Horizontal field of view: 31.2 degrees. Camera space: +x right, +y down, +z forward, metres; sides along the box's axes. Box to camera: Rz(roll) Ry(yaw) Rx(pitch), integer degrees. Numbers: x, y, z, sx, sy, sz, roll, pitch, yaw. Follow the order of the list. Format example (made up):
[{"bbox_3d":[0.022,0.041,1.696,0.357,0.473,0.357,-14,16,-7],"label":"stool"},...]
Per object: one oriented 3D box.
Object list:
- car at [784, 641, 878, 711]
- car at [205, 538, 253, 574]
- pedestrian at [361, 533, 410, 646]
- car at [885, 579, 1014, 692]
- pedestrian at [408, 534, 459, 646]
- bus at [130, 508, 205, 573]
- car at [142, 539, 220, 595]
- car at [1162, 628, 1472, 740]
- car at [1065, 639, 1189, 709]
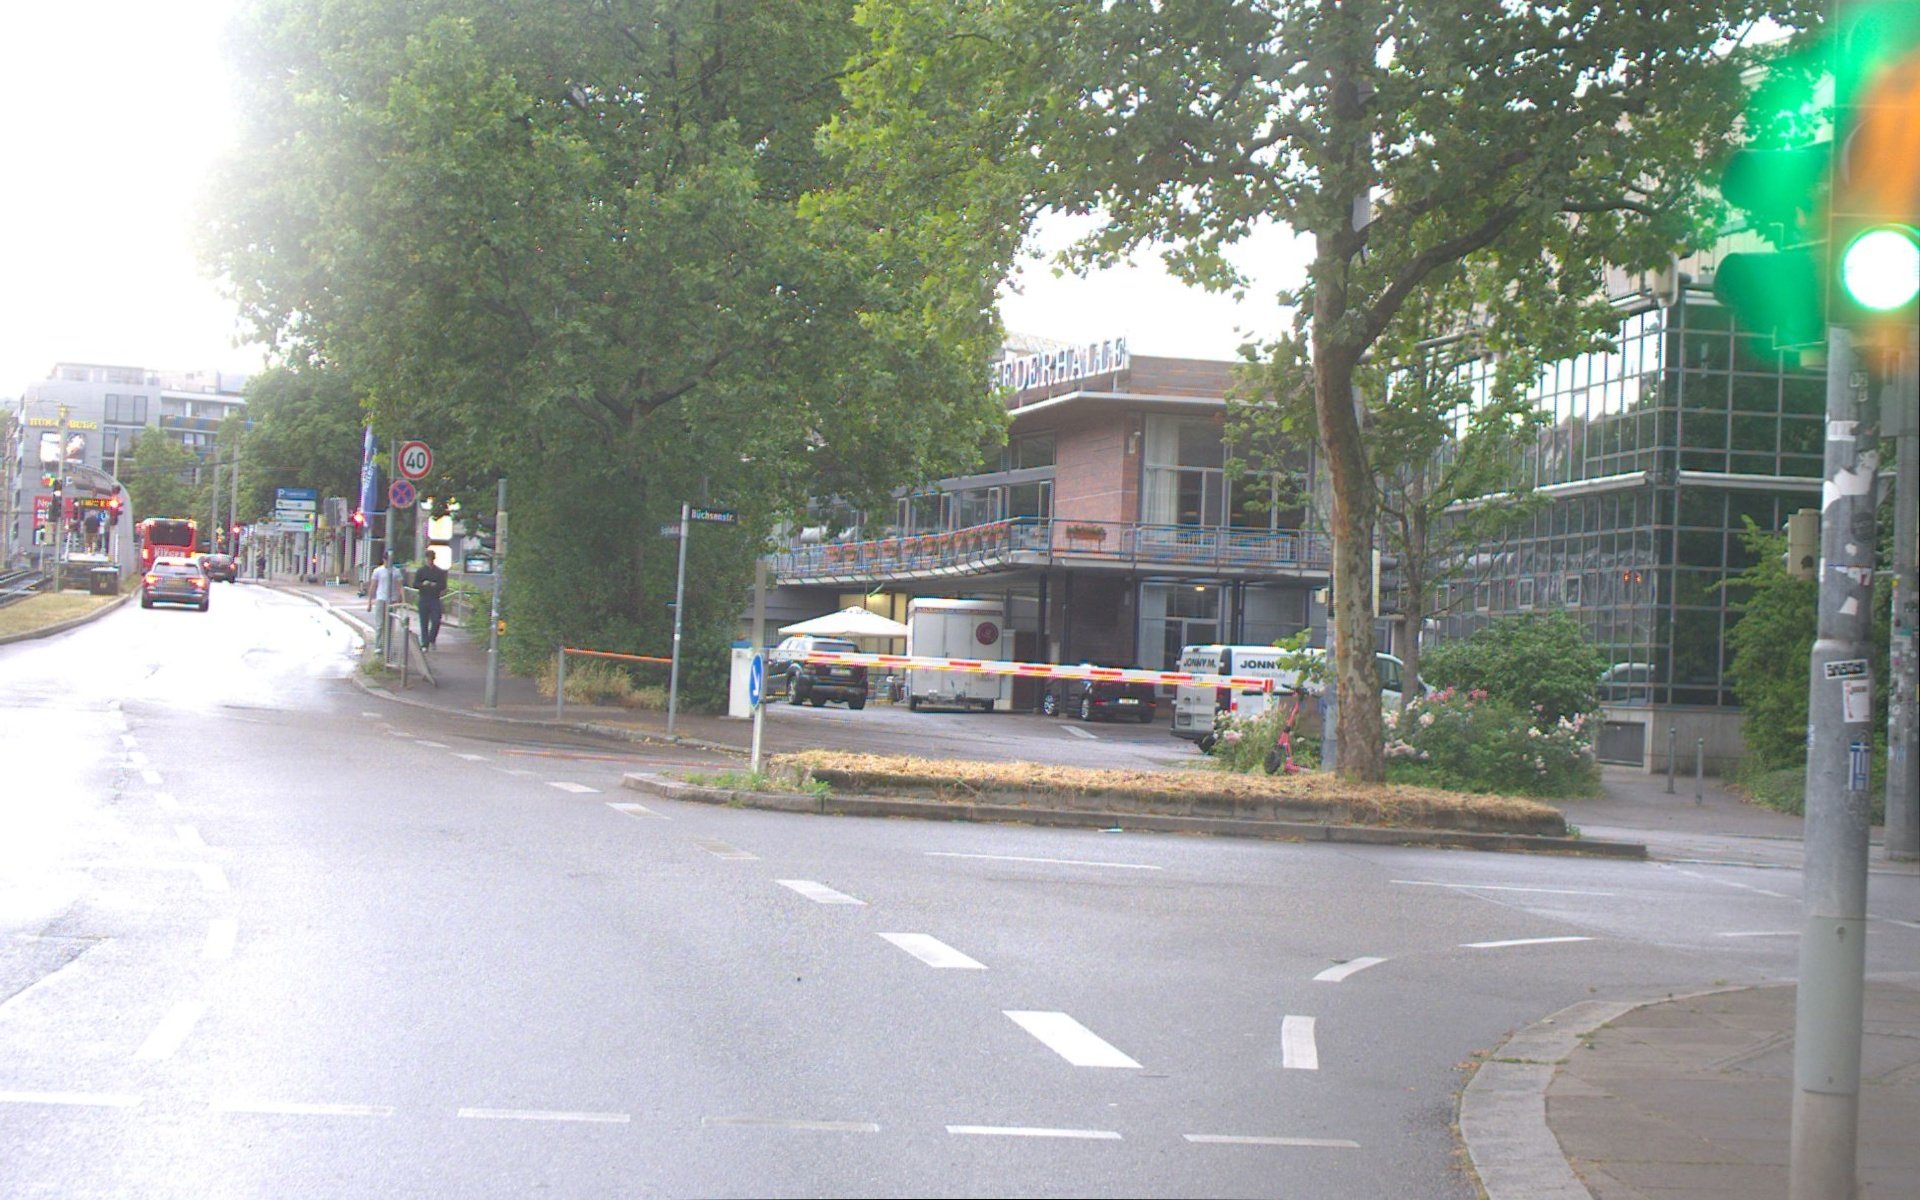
[{"bbox_3d":[-3.228,1.911,87.074,2.019,1.546,4.350,3,0,2],"label":"car"},{"bbox_3d":[-38.401,-2.298,180.540,2.362,1.810,5.185,1,0,-13],"label":"car"},{"bbox_3d":[-10.385,-0.189,62.154,0.814,2.007,1.077,1,0,-8],"label":"pedestrian"},{"bbox_3d":[-0.343,0.886,90.533,2.731,2.686,6.923,3,0,-5],"label":"car"},{"bbox_3d":[-9.558,-0.181,62.406,0.874,2.007,1.077,1,0,-8],"label":"pedestrian"},{"bbox_3d":[-40.491,-2.979,175.561,3.589,3.160,10.423,1,0,-13],"label":"bus"},{"bbox_3d":[-21.701,-0.911,95.925,1.993,1.514,4.351,1,0,-11],"label":"car"},{"bbox_3d":[6.376,1.508,61.334,5.198,1.725,1.875,3,0,-25],"label":"car"},{"bbox_3d":[4.260,1.891,88.317,2.019,1.546,4.351,3,0,-13],"label":"car"}]
